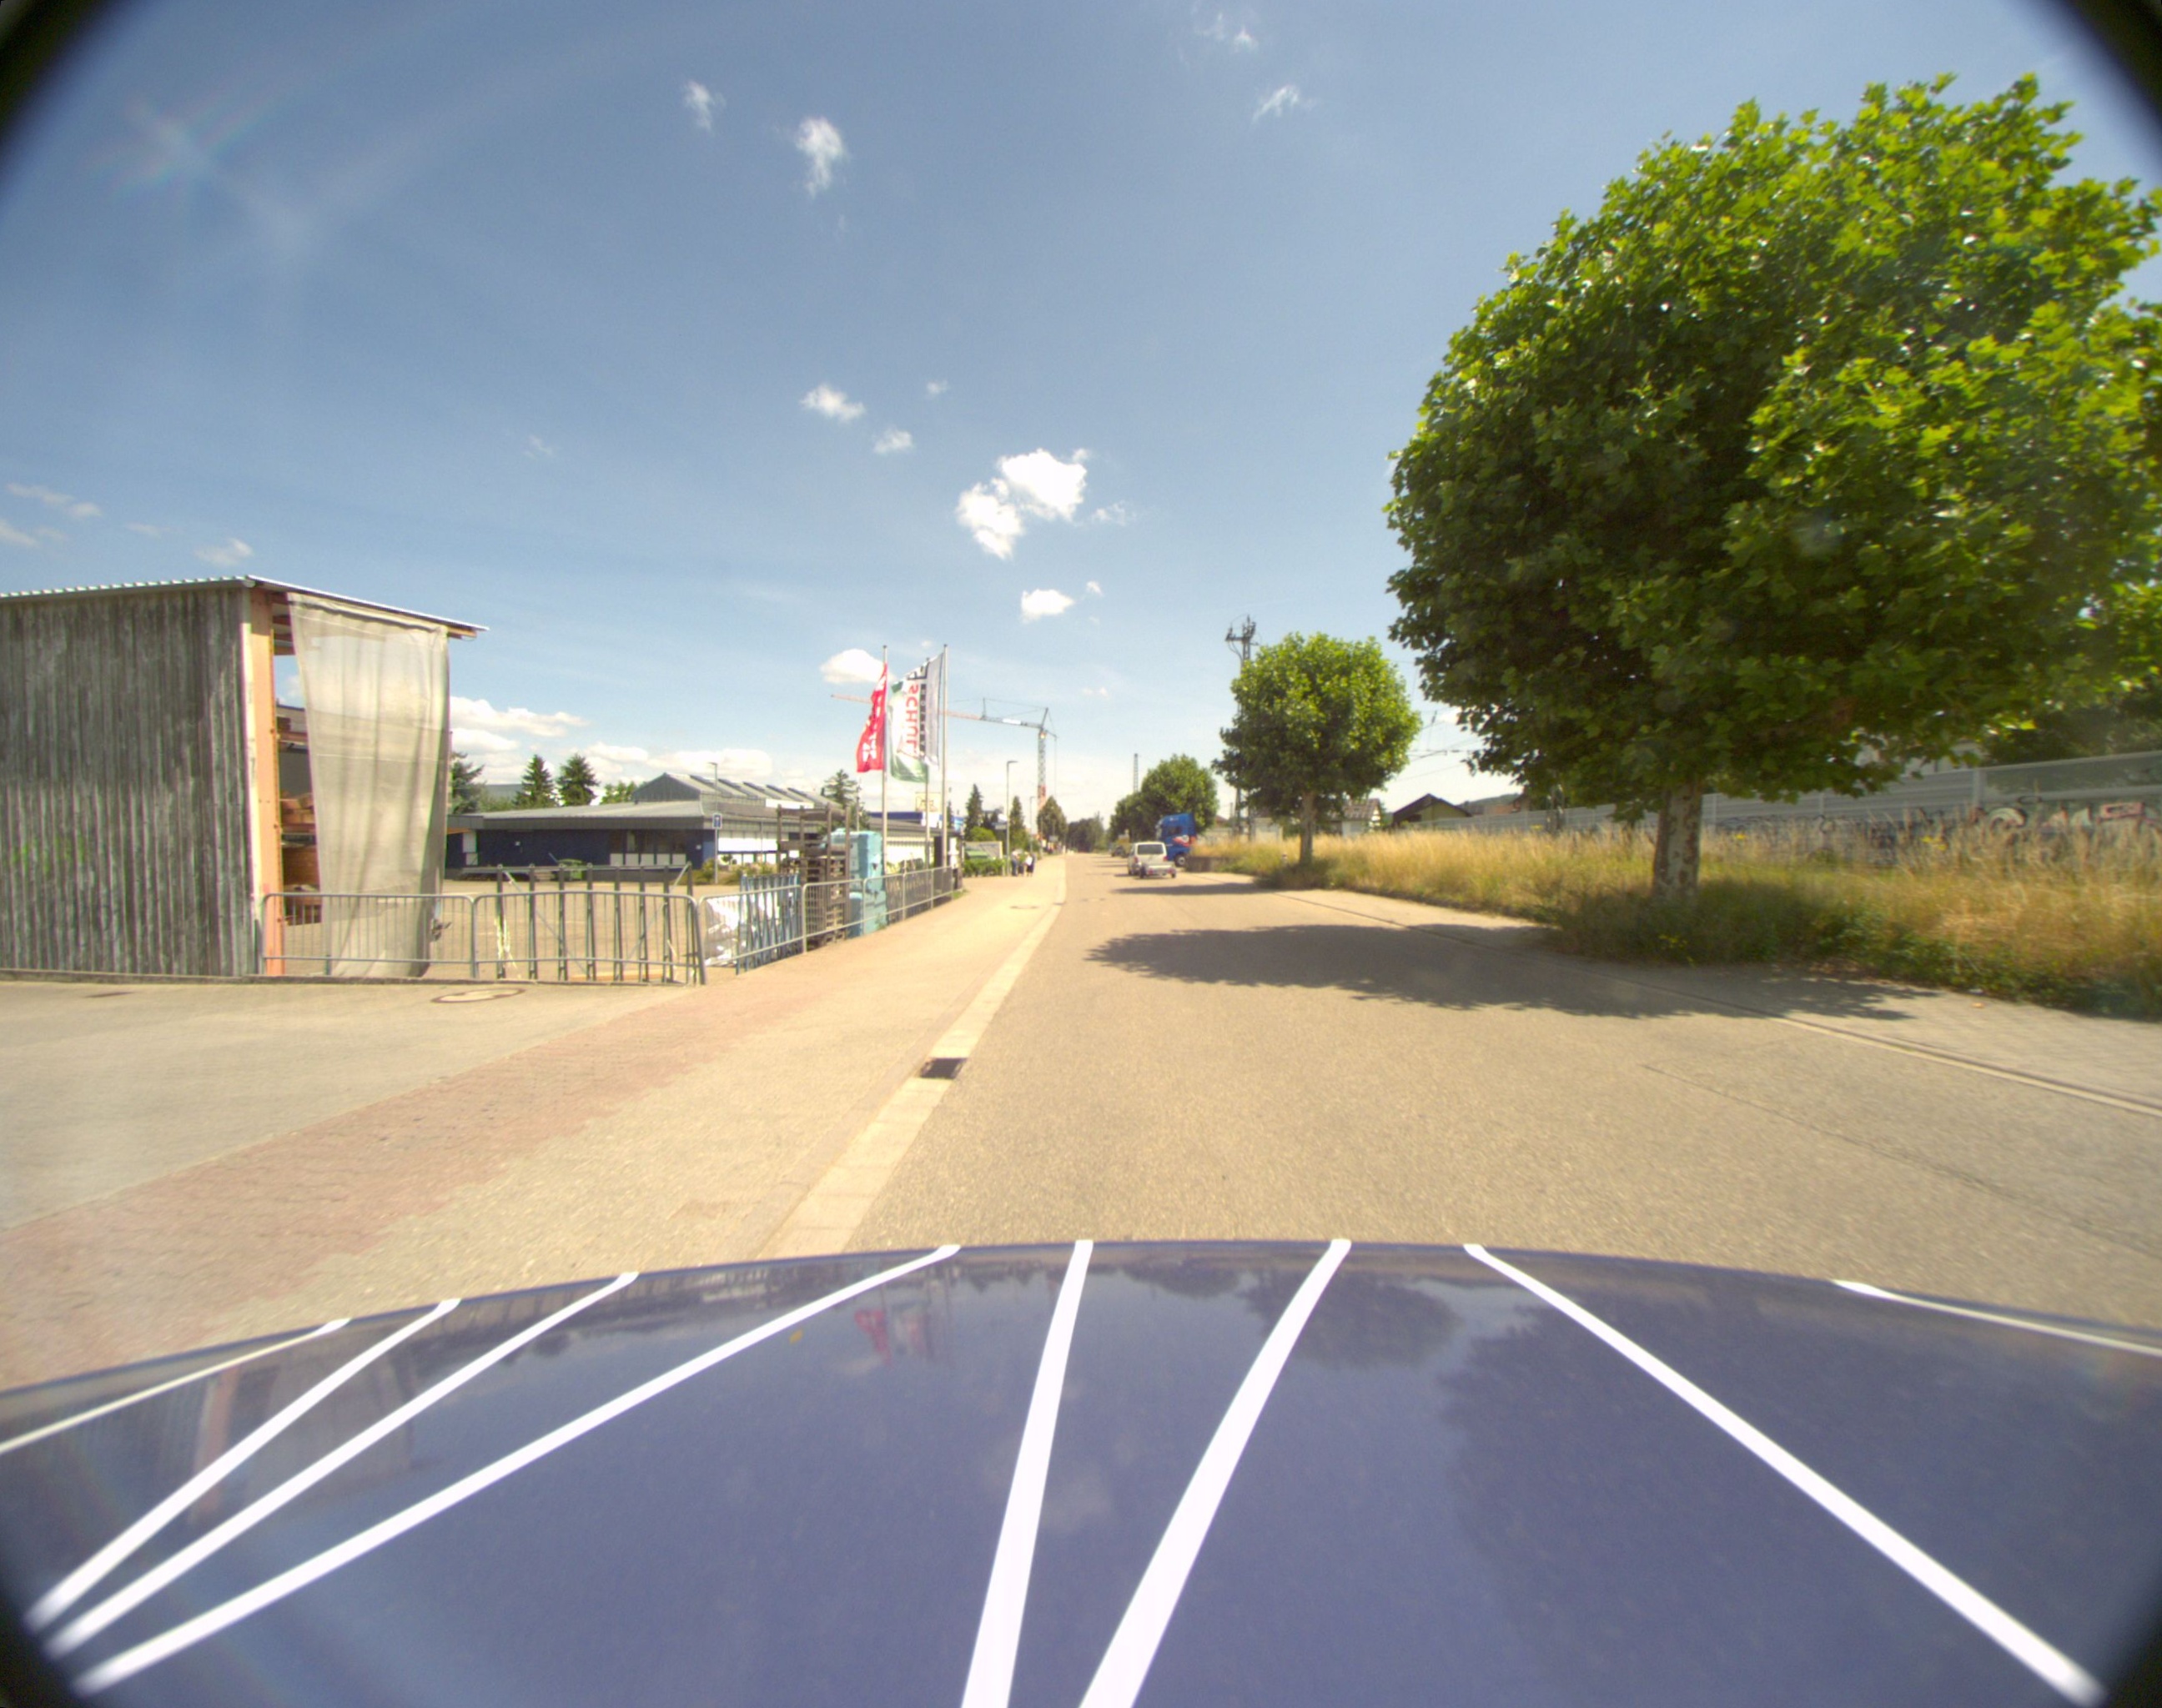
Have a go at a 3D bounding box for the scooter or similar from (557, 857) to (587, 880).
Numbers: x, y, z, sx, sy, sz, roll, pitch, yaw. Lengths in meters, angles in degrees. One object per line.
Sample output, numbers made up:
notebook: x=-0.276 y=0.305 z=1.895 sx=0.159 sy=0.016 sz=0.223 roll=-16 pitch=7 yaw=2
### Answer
scooter or similar: x=-30.422 y=0.873 z=45.457 sx=1.113 sy=1.314 sz=0.926 roll=1 pitch=3 yaw=9

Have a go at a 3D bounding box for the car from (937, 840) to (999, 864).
car: x=-8.113 y=-0.133 z=54.703 sx=4.224 sy=1.625 sz=1.799 roll=0 pitch=3 yaw=-2

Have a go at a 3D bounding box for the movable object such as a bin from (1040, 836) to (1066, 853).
movable object such as a bin: x=-5.976 y=-2.041 z=162.040 sx=5.133 sy=3.277 sz=2.390 roll=0 pitch=6 yaw=-17

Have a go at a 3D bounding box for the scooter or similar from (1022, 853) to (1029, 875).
scooter or similar: x=-3.070 y=0.558 z=42.249 sx=0.334 sy=1.191 sz=0.397 roll=1 pitch=3 yaw=0

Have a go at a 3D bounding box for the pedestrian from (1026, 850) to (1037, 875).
pedestrian: x=-2.781 y=0.460 z=42.910 sx=0.595 sy=1.397 sz=0.583 roll=1 pitch=3 yaw=1

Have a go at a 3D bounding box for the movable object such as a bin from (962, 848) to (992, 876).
movable object such as a bin: x=-5.822 y=0.441 z=42.438 sx=1.270 sy=1.450 sz=1.046 roll=-3 pitch=1 yaw=-38

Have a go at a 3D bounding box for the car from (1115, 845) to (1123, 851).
car: x=8.104 y=-1.254 z=160.885 sx=1.607 sy=1.342 sz=3.999 roll=0 pitch=1 yaw=1

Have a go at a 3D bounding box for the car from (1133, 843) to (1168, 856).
car: x=7.911 y=-0.541 z=87.189 sx=3.954 sy=1.442 sz=1.787 roll=0 pitch=1 yaw=4

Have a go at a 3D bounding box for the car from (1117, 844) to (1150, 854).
car: x=7.388 y=-0.711 z=106.808 sx=4.439 sy=1.402 sz=1.787 roll=0 pitch=1 yaw=-3

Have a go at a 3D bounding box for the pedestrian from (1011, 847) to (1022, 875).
pedestrian: x=-3.601 y=0.380 z=42.312 sx=0.536 sy=1.531 sz=0.510 roll=2 pitch=1 yaw=-2

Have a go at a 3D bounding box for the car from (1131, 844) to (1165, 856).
car: x=8.227 y=-0.478 z=93.388 sx=4.083 sy=1.360 sz=1.674 roll=-1 pitch=0 yaw=0

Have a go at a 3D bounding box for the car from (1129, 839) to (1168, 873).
car: x=3.814 y=0.080 z=43.553 sx=1.843 sy=1.847 sz=4.483 roll=-1 pitch=1 yaw=0

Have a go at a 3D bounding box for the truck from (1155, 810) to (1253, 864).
truck: x=8.903 y=-1.219 z=55.443 sx=6.632 sy=3.801 sz=2.663 roll=0 pitch=1 yaw=-3

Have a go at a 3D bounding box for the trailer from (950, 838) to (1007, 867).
trailer: x=-7.800 y=-0.067 z=58.052 sx=3.997 sy=2.001 sz=2.001 roll=-1 pitch=-2 yaw=-1

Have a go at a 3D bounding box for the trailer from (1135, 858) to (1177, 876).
trailer: x=3.801 y=0.633 z=39.201 sx=1.823 sy=0.845 sz=4.222 roll=1 pitch=0 yaw=1
